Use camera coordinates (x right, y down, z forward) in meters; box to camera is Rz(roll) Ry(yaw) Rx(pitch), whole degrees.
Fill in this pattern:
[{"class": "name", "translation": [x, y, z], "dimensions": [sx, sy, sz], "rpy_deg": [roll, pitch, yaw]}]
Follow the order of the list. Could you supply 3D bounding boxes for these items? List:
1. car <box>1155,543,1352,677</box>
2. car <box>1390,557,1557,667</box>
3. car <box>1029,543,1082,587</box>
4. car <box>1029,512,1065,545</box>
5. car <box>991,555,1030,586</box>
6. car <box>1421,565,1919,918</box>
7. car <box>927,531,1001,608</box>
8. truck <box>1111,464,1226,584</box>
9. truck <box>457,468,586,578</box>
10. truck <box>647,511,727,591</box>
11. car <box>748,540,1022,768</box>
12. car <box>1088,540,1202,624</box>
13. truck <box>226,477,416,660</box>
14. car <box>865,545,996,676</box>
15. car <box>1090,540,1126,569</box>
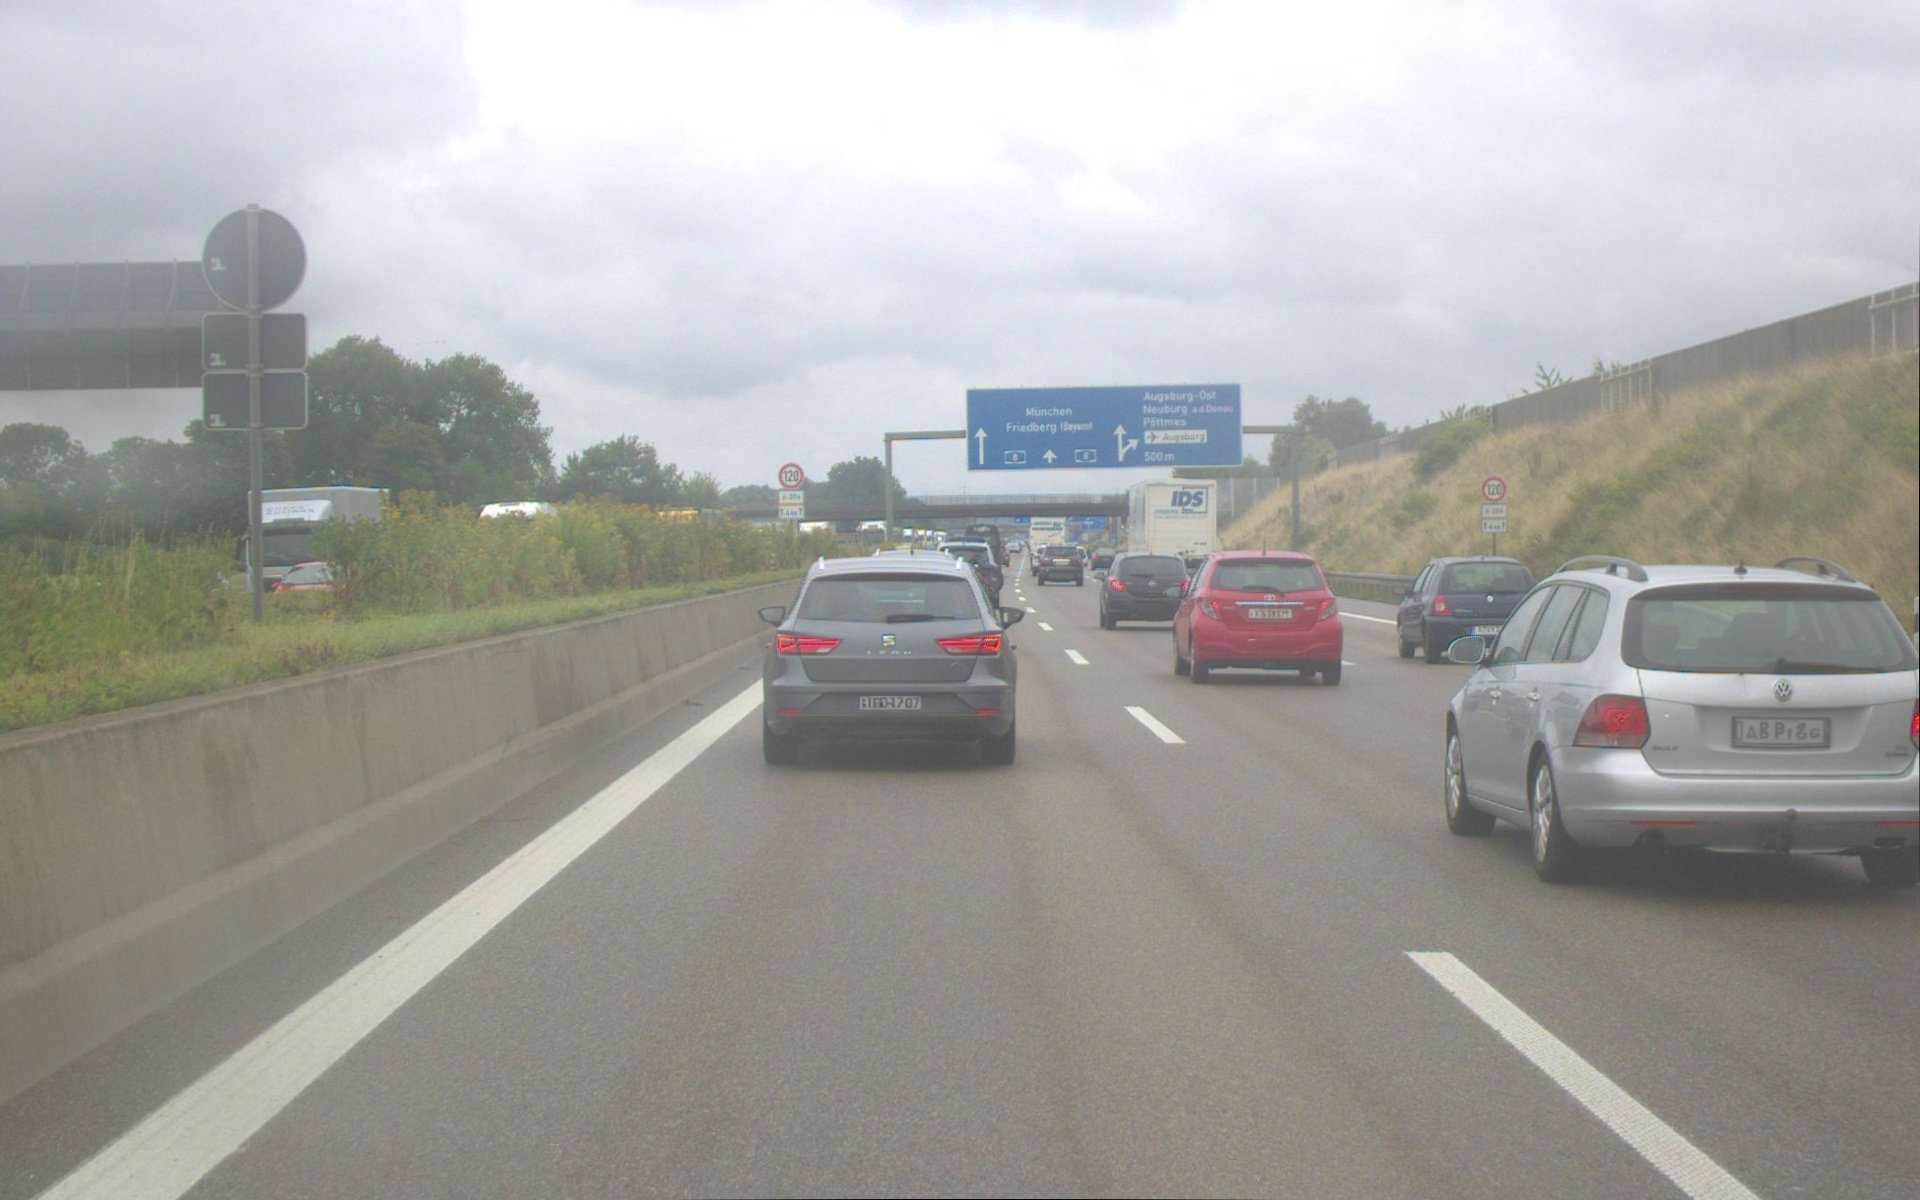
[{"class": "car", "translation": [3.330, 0.073, 39.841], "dimensions": [1.891, 1.442, 4.685], "rpy_deg": [0, 1, 0]}, {"class": "car", "translation": [6.914, 0.138, 46.592], "dimensions": [1.702, 1.396, 3.875], "rpy_deg": [1, 1, 1]}, {"class": "car", "translation": [3.685, -1.354, 132.804], "dimensions": [1.845, 1.681, 4.000], "rpy_deg": [1, 1, -1]}, {"class": "car", "translation": [5.503, -4.507, 217.080], "dimensions": [1.993, 2.007, 4.000], "rpy_deg": [-1, 1, -2]}, {"class": "car", "translation": [2.457, -1.454, 168.500], "dimensions": [1.751, 1.512, 4.000], "rpy_deg": [0, 1, -1]}, {"class": "car", "translation": [3.391, 0.567, 16.554], "dimensions": [1.742, 1.420, 4.517], "rpy_deg": [-1, 1, 0]}, {"class": "car", "translation": [0.075, -0.757, 84.398], "dimensions": [1.704, 1.790, 3.855], "rpy_deg": [-2, 1, -1]}, {"class": "truck", "translation": [7.900, -2.816, 132.872], "dimensions": [3.283, 4.280, 19.033], "rpy_deg": [1, 1, 0]}, {"class": "truck", "translation": [-16.536, -2.857, 130.445], "dimensions": [3.184, 3.953, 10.810], "rpy_deg": [1, 1, 2]}, {"class": "truck", "translation": [-15.431, -2.749, 195.241], "dimensions": [3.412, 4.349, 10.991], "rpy_deg": [1, 1, 1]}, {"class": "car", "translation": [-0.502, 0.331, 24.447], "dimensions": [1.768, 1.462, 4.000], "rpy_deg": [1, 1, 0]}, {"class": "car", "translation": [3.434, -0.367, 64.607], "dimensions": [1.921, 1.516, 4.622], "rpy_deg": [0, 1, 1]}, {"class": "truck", "translation": [-17.131, -0.848, 92.877], "dimensions": [3.225, 4.633, 9.674], "rpy_deg": [1, 1, 0]}, {"class": "car", "translation": [-0.381, 0.125, 48.579], "dimensions": [1.754, 1.744, 4.000], "rpy_deg": [1, 1, 0]}, {"class": "car", "translation": [9.521, -2.953, 222.025], "dimensions": [1.993, 1.853, 4.391], "rpy_deg": [0, 1, -2]}]
